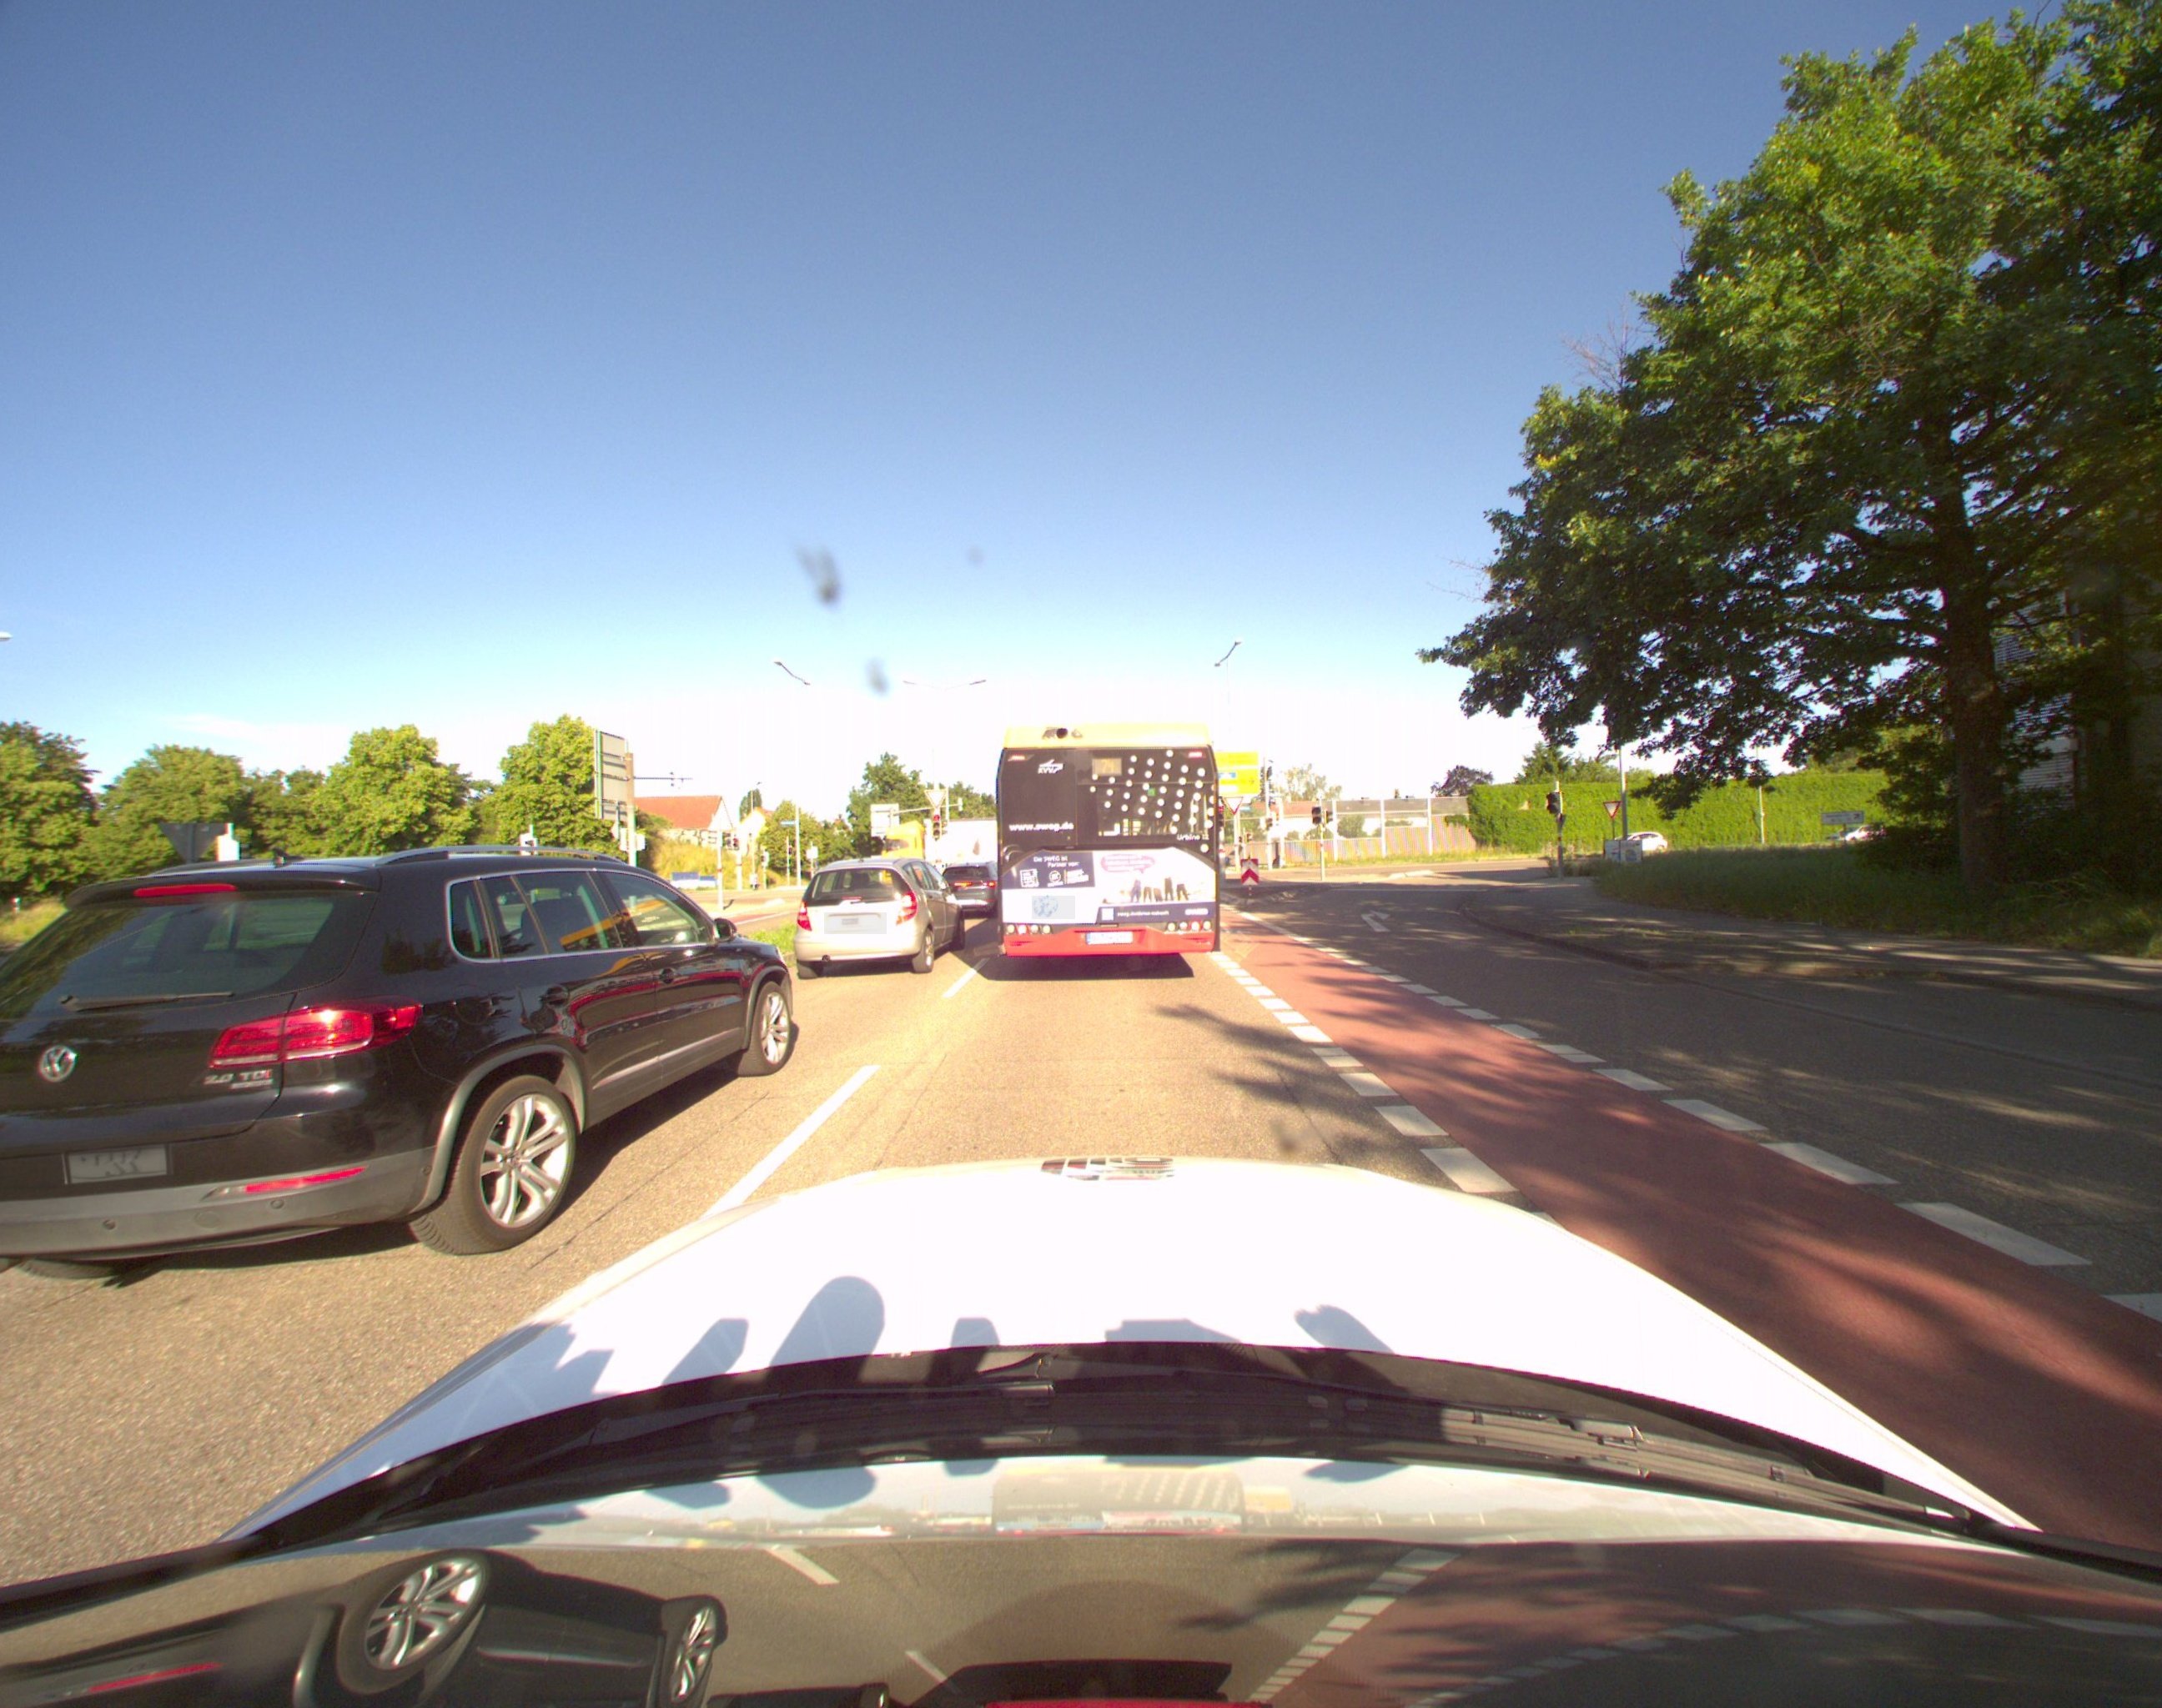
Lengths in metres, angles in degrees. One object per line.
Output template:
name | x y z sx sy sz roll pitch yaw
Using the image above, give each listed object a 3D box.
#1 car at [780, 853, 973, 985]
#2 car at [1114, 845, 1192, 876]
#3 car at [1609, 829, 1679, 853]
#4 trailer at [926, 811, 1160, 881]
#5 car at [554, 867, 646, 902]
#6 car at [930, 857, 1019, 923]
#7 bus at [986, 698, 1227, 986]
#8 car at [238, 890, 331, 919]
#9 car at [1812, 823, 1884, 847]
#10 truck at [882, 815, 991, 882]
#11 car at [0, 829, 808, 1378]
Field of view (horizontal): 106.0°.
car | -2.874 0.827 12.378 1.755 1.589 4.001 -3 0 1
car | 4.089 0.358 46.431 4.065 1.526 1.763 -3 0 -8
car | 38.923 -0.867 56.341 3.800 1.612 1.704 0 -1 -5
trailer | -2.436 -0.534 53.109 14.634 4.013 3.434 -2 0 -6
car | -24.569 1.544 41.670 3.577 1.560 1.747 -2 0 -5
car | -2.687 0.860 21.311 1.686 1.458 3.751 -3 0 1
bus | 0.524 -0.161 15.015 2.632 3.167 11.867 -1 0 2
car | -47.154 2.986 48.279 3.588 1.459 1.569 -2 0 -14
car | 58.494 -1.432 62.148 3.982 1.816 1.919 0 -1 -6
truck | -9.191 -0.337 52.460 6.465 4.013 3.435 -2 0 -5
car | -3.170 0.802 4.551 1.766 1.653 4.001 -3 0 1
